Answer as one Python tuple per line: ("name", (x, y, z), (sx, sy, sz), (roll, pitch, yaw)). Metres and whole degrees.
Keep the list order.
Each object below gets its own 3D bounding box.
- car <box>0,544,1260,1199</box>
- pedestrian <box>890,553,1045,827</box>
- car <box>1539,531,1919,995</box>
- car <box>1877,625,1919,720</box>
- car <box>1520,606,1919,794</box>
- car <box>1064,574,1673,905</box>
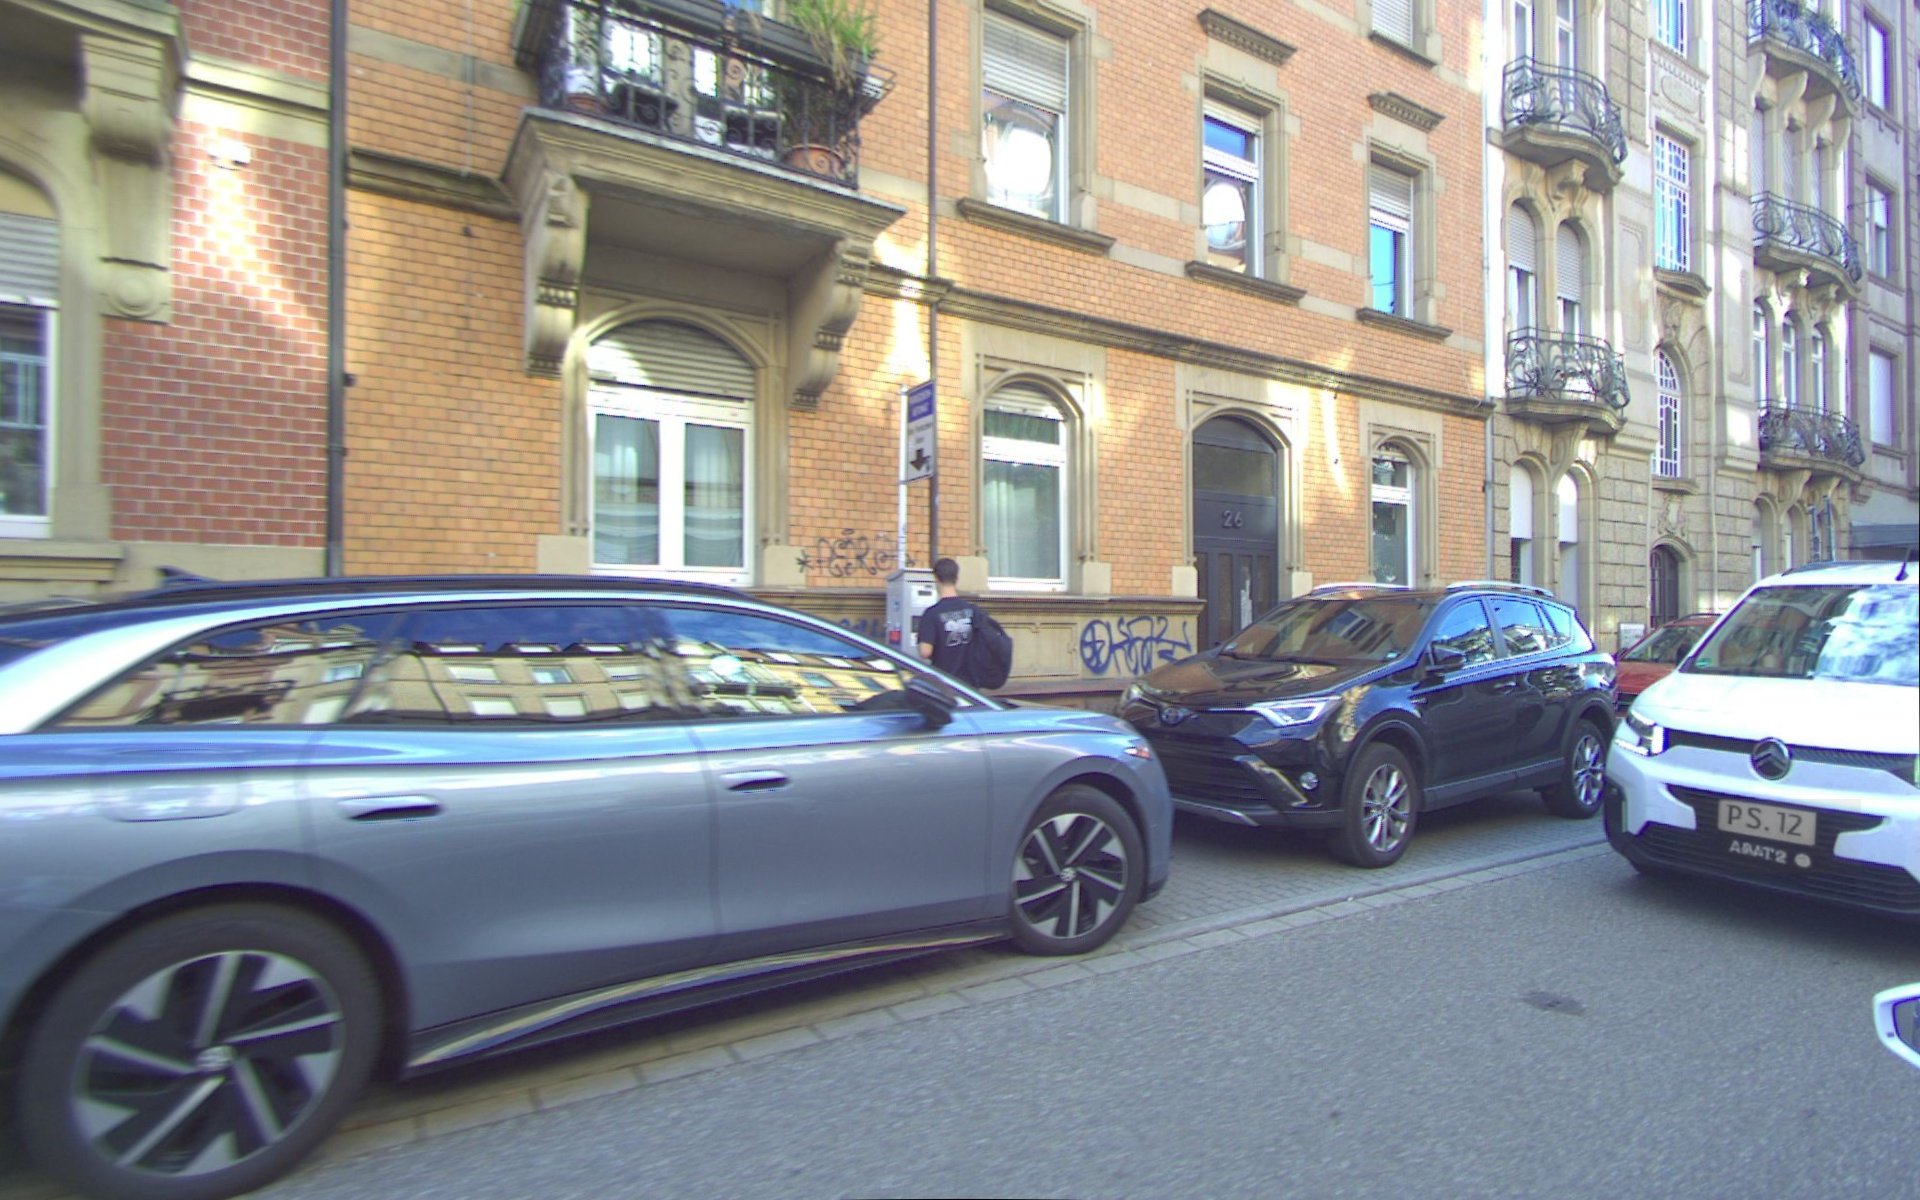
("car", (-1.247, 0.709, 3.864), (5.212, 1.599, 1.813), (1, -1, -36))
("pedestrian", (0.044, 0.610, 7.264), (0.852, 1.832, 0.753), (1, 0, -28))
("car", (5.420, 0.688, 5.647), (4.388, 1.852, 1.907), (1, 0, -32))
("car", (16.575, 1.112, 15.935), (4.198, 1.439, 1.982), (1, -2, -33))
("car", (7.966, 0.902, 10.402), (4.379, 1.565, 1.982), (1, -2, -33))
("car", (3.186, 0.728, 7.348), (4.846, 1.703, 1.860), (0, 0, -36))
